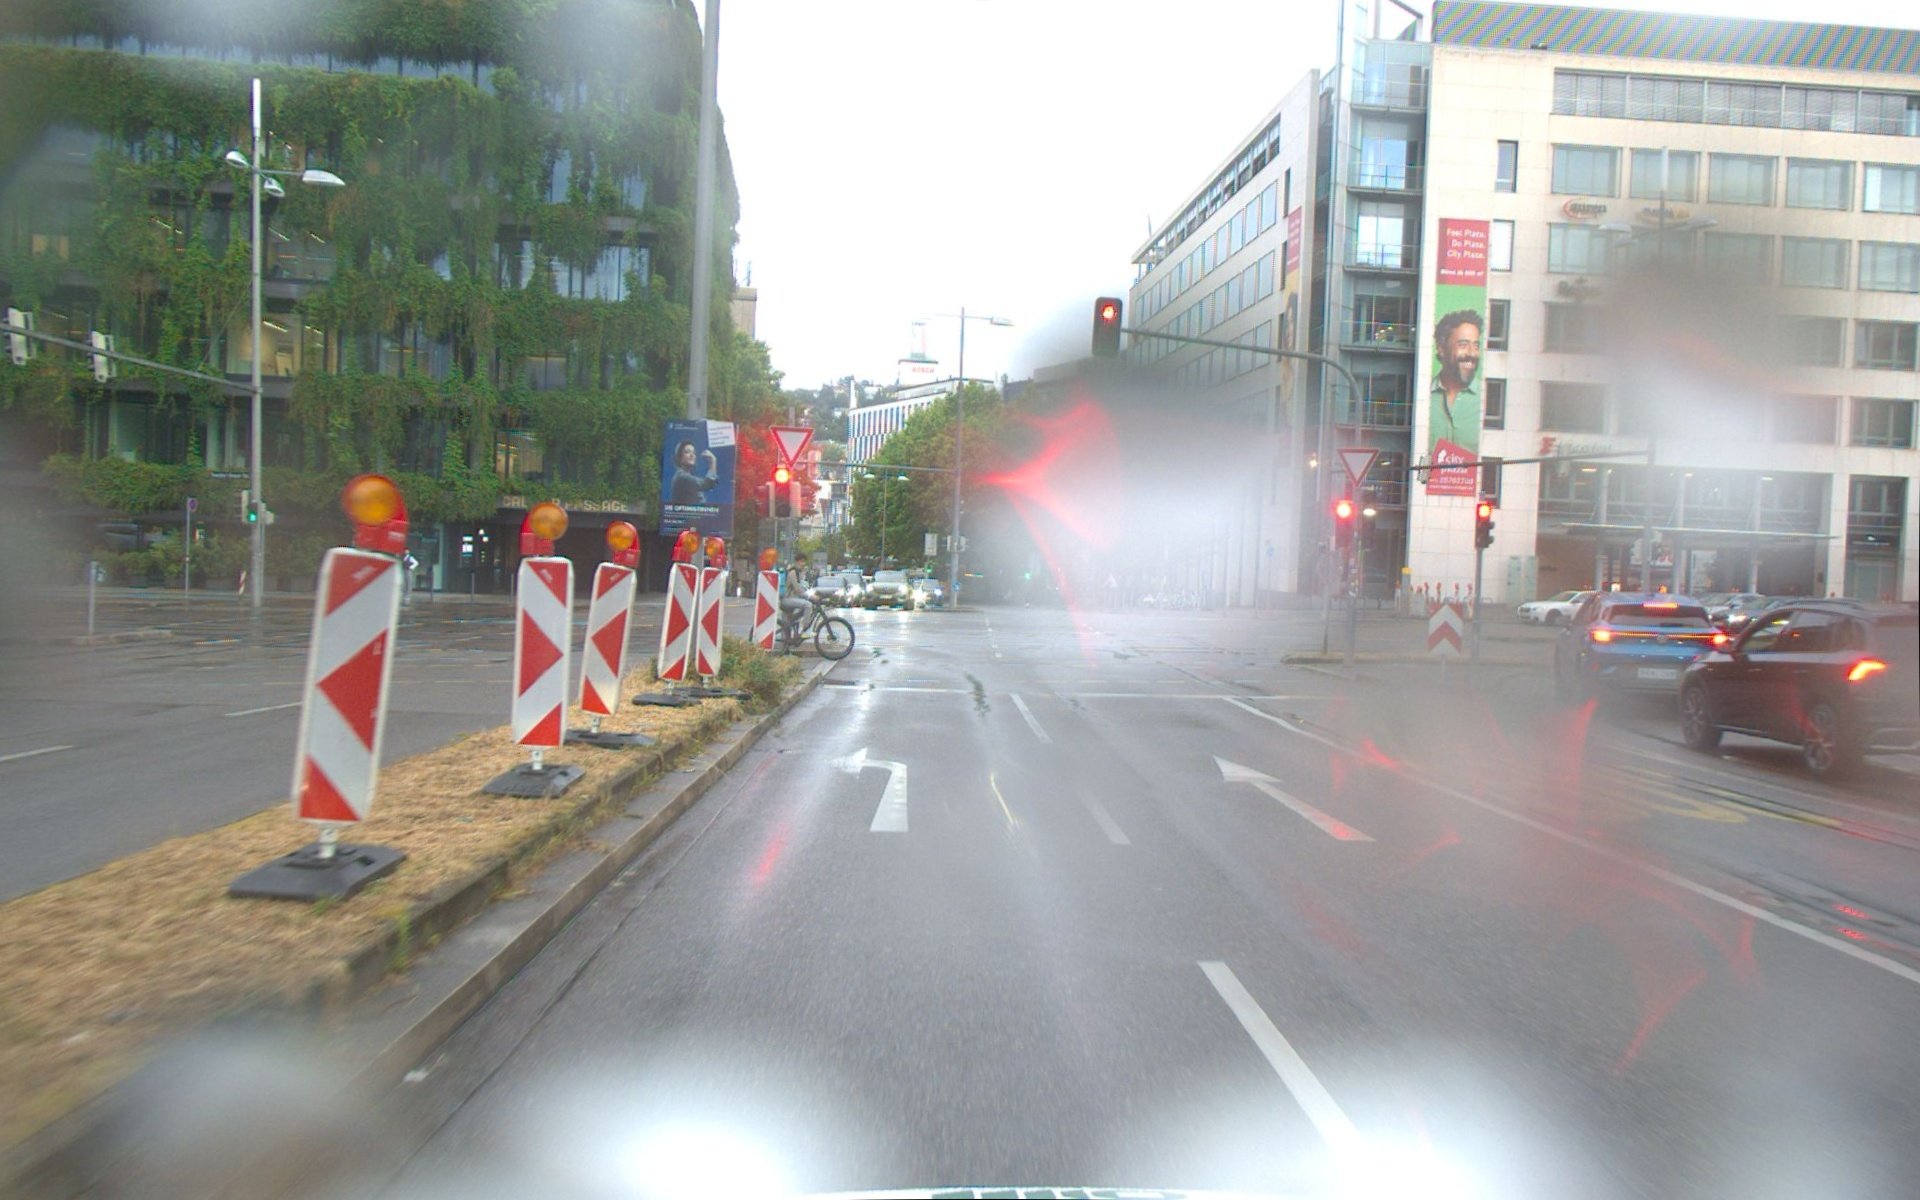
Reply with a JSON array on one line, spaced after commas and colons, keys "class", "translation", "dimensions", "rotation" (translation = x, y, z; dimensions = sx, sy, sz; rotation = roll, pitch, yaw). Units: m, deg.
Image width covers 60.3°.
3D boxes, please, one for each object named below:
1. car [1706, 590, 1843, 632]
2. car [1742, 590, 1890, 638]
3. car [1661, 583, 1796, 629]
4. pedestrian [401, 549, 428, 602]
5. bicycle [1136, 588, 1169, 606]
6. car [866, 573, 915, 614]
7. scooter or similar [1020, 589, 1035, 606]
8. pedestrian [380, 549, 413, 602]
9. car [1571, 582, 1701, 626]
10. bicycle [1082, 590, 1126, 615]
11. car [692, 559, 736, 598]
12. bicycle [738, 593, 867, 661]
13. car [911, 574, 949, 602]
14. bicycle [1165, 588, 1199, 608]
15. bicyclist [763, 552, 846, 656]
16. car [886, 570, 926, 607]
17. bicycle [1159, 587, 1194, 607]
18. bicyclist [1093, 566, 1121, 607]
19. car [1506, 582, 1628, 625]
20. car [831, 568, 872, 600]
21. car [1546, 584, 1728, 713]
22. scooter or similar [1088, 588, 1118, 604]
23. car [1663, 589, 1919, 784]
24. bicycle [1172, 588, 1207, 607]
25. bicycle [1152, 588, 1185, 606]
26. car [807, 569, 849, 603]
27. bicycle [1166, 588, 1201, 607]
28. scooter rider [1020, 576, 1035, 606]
[{"class": "car", "translation": [29.075, 0.385, 59.070], "dimensions": [4.377, 1.372, 1.716], "rotation": [1, 1, -16]}, {"class": "car", "translation": [28.901, 0.472, 55.863], "dimensions": [4.374, 1.489, 1.717], "rotation": [1, 1, -14]}, {"class": "car", "translation": [29.007, 0.222, 62.450], "dimensions": [4.377, 1.626, 1.992], "rotation": [1, 1, -16]}, {"class": "pedestrian", "translation": [-18.769, -0.840, 56.905], "dimensions": [0.731, 1.788, 0.969], "rotation": [1, 1, -24]}, {"class": "bicycle", "translation": [10.649, -0.180, 91.404], "dimensions": [1.757, 0.950, 0.475], "rotation": [1, 1, 2]}, {"class": "car", "translation": [-2.903, -0.292, 68.939], "dimensions": [1.954, 1.577, 4.553], "rotation": [1, 1, -3]}, {"class": "scooter or similar", "translation": [4.187, -0.172, 102.928], "dimensions": [0.546, 1.024, 1.820], "rotation": [1, 0, -10]}, {"class": "pedestrian", "translation": [-19.290, -0.832, 56.618], "dimensions": [0.923, 1.788, 1.163], "rotation": [1, 1, -24]}, {"class": "car", "translation": [26.468, 0.149, 64.827], "dimensions": [4.373, 1.626, 1.994], "rotation": [1, 1, -13]}, {"class": "bicycle", "translation": [7.123, 0.119, 82.035], "dimensions": [0.787, 1.136, 2.222], "rotation": [1, 1, -41]}, {"class": "car", "translation": [-12.830, -1.145, 86.606], "dimensions": [1.955, 1.928, 4.461], "rotation": [1, 1, -5]}, {"class": "bicycle", "translation": [-2.731, 0.462, 28.600], "dimensions": [2.110, 1.122, 0.845], "rotation": [1, 1, -15]}, {"class": "car", "translation": [-1.774, -0.743, 96.729], "dimensions": [1.954, 1.468, 4.553], "rotation": [1, 2, -4]}, {"class": "bicycle", "translation": [11.434, -0.103, 85.240], "dimensions": [1.767, 0.950, 0.473], "rotation": [2, 1, 41]}, {"class": "bicyclist", "translation": [-2.693, 0.065, 28.604], "dimensions": [1.273, 1.733, 0.845], "rotation": [1, 1, -15]}, {"class": "car", "translation": [-2.699, -0.615, 82.250], "dimensions": [1.924, 1.684, 4.363], "rotation": [1, 2, -2]}, {"class": "bicycle", "translation": [10.836, -0.134, 82.878], "dimensions": [1.767, 0.950, 0.473], "rotation": [2, 1, 41]}, {"class": "bicyclist", "translation": [7.266, -0.683, 81.873], "dimensions": [0.787, 2.009, 1.097], "rotation": [1, 1, -41]}, {"class": "car", "translation": [24.973, 0.137, 68.114], "dimensions": [4.378, 1.626, 1.992], "rotation": [1, 1, -16]}, {"class": "car", "translation": [-5.457, -0.839, 82.771], "dimensions": [1.821, 1.473, 4.614], "rotation": [1, 1, -7]}, {"class": "car", "translation": [9.224, 0.589, 22.849], "dimensions": [1.667, 1.556, 4.430], "rotation": [2, 1, 14]}, {"class": "scooter or similar", "translation": [8.549, -0.251, 98.682], "dimensions": [1.720, 0.894, 0.486], "rotation": [1, 0, -20]}, {"class": "car", "translation": [8.376, 0.715, 15.630], "dimensions": [1.741, 1.567, 4.147], "rotation": [1, 1, 1]}, {"class": "bicycle", "translation": [11.583, -0.126, 83.531], "dimensions": [1.767, 0.950, 0.473], "rotation": [2, 1, 41]}, {"class": "bicycle", "translation": [11.293, -0.149, 89.566], "dimensions": [1.757, 0.950, 0.475], "rotation": [1, 1, 2]}, {"class": "car", "translation": [-6.116, -0.663, 76.311], "dimensions": [1.820, 1.473, 4.616], "rotation": [1, 1, -5]}, {"class": "bicycle", "translation": [11.409, -0.136, 84.494], "dimensions": [1.767, 0.950, 0.473], "rotation": [2, 1, 41]}, {"class": "scooter rider", "translation": [4.218, -0.555, 102.964], "dimensions": [0.748, 1.805, 0.794], "rotation": [1, 0, -10]}]
